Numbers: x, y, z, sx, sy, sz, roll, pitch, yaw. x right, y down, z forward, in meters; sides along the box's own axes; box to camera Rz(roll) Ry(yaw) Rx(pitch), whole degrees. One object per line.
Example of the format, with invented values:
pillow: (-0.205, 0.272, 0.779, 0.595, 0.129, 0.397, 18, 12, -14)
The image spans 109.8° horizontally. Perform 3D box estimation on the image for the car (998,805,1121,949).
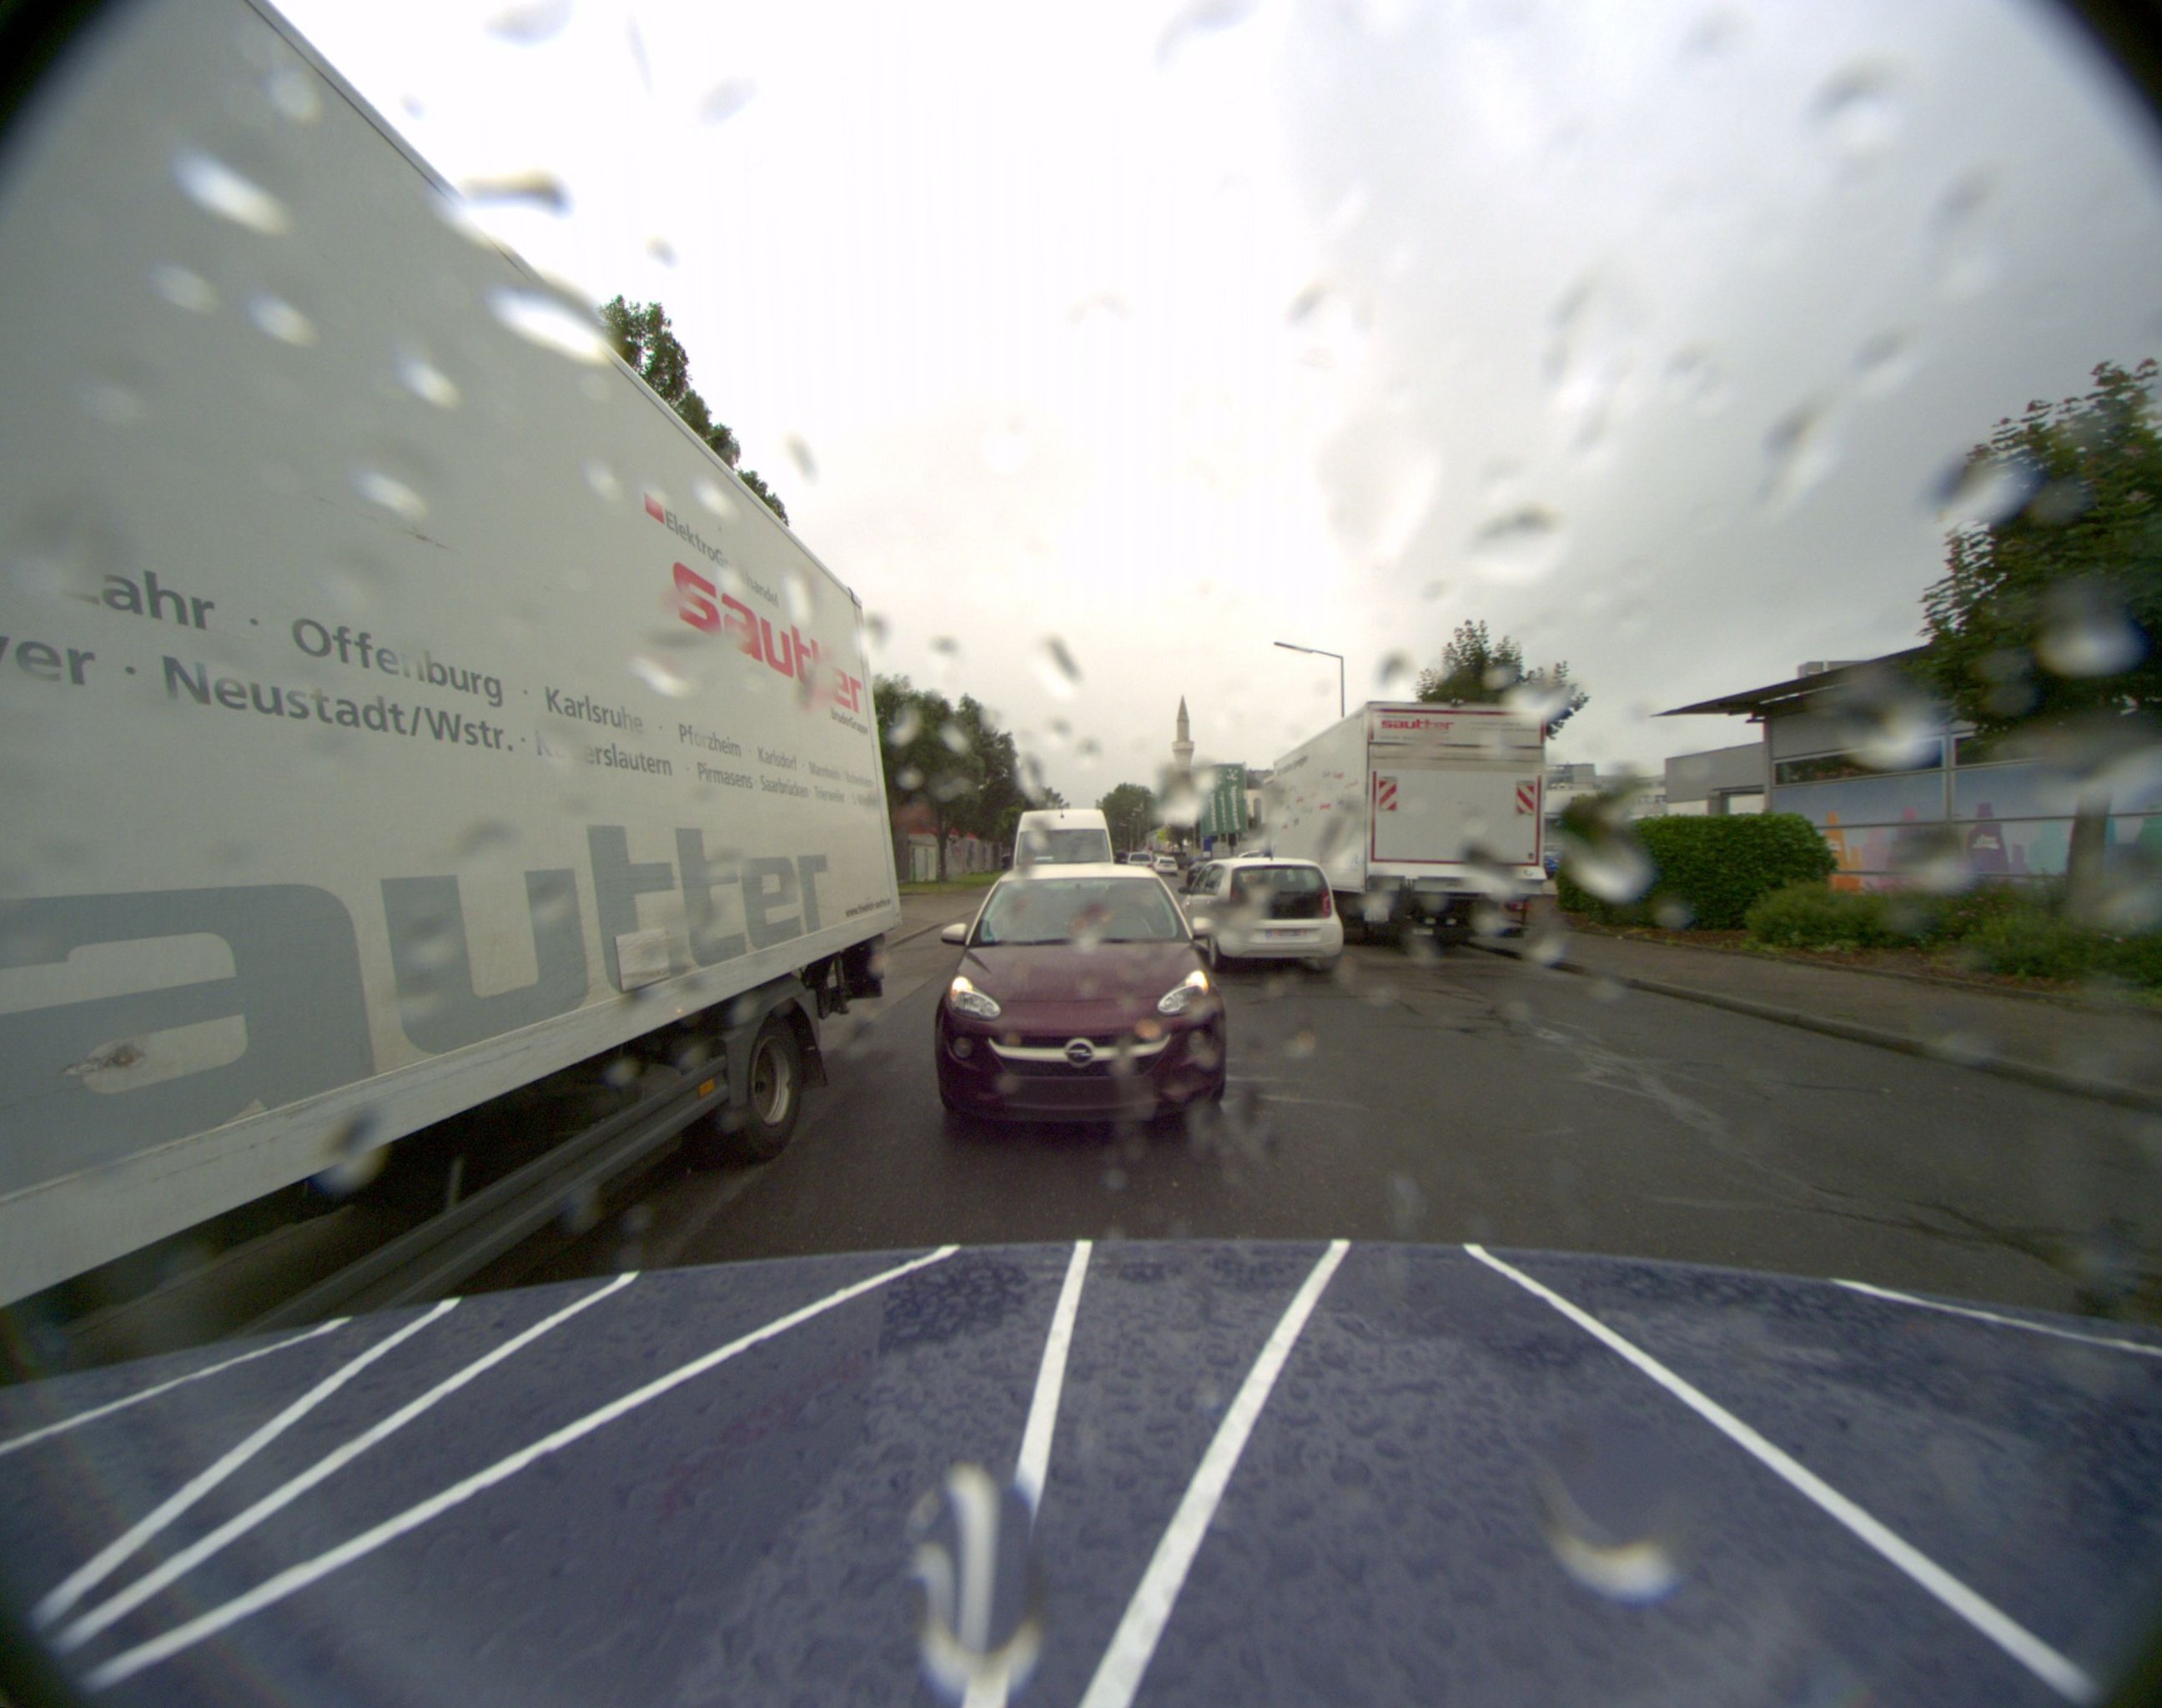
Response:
car: (-0.413, 0.391, 15.932, 2.085, 2.466, 5.346, -1, 0, -1)

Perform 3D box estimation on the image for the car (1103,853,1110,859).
car: (5.927, 0.352, 176.726, 1.579, 1.333, 3.611, -1, 0, 0)

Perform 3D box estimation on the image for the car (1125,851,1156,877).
car: (3.783, 0.625, 48.832, 1.691, 1.588, 3.611, -1, 0, 0)

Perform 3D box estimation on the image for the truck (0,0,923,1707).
truck: (-2.854, -0.006, 2.183, 2.678, 3.670, 8.009, -4, 0, 1)

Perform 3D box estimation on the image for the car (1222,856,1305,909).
car: (5.508, 0.819, 23.352, 1.691, 1.457, 3.513, -1, 0, 0)

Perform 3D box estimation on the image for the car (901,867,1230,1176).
car: (-0.059, 0.901, 5.713, 1.637, 1.446, 3.578, -3, 0, 1)

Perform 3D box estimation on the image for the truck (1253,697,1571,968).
truck: (5.519, -0.299, 14.554, 2.888, 3.724, 7.868, -1, 0, 2)

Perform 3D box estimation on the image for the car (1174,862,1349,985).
car: (2.385, 0.855, 10.851, 1.615, 1.430, 3.407, 0, 0, -1)

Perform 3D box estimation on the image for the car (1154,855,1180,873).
car: (6.785, 0.759, 60.247, 1.579, 1.333, 3.611, -1, 0, 0)

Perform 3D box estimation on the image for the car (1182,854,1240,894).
car: (5.114, 0.740, 30.312, 1.691, 1.457, 3.513, -1, 0, 0)
